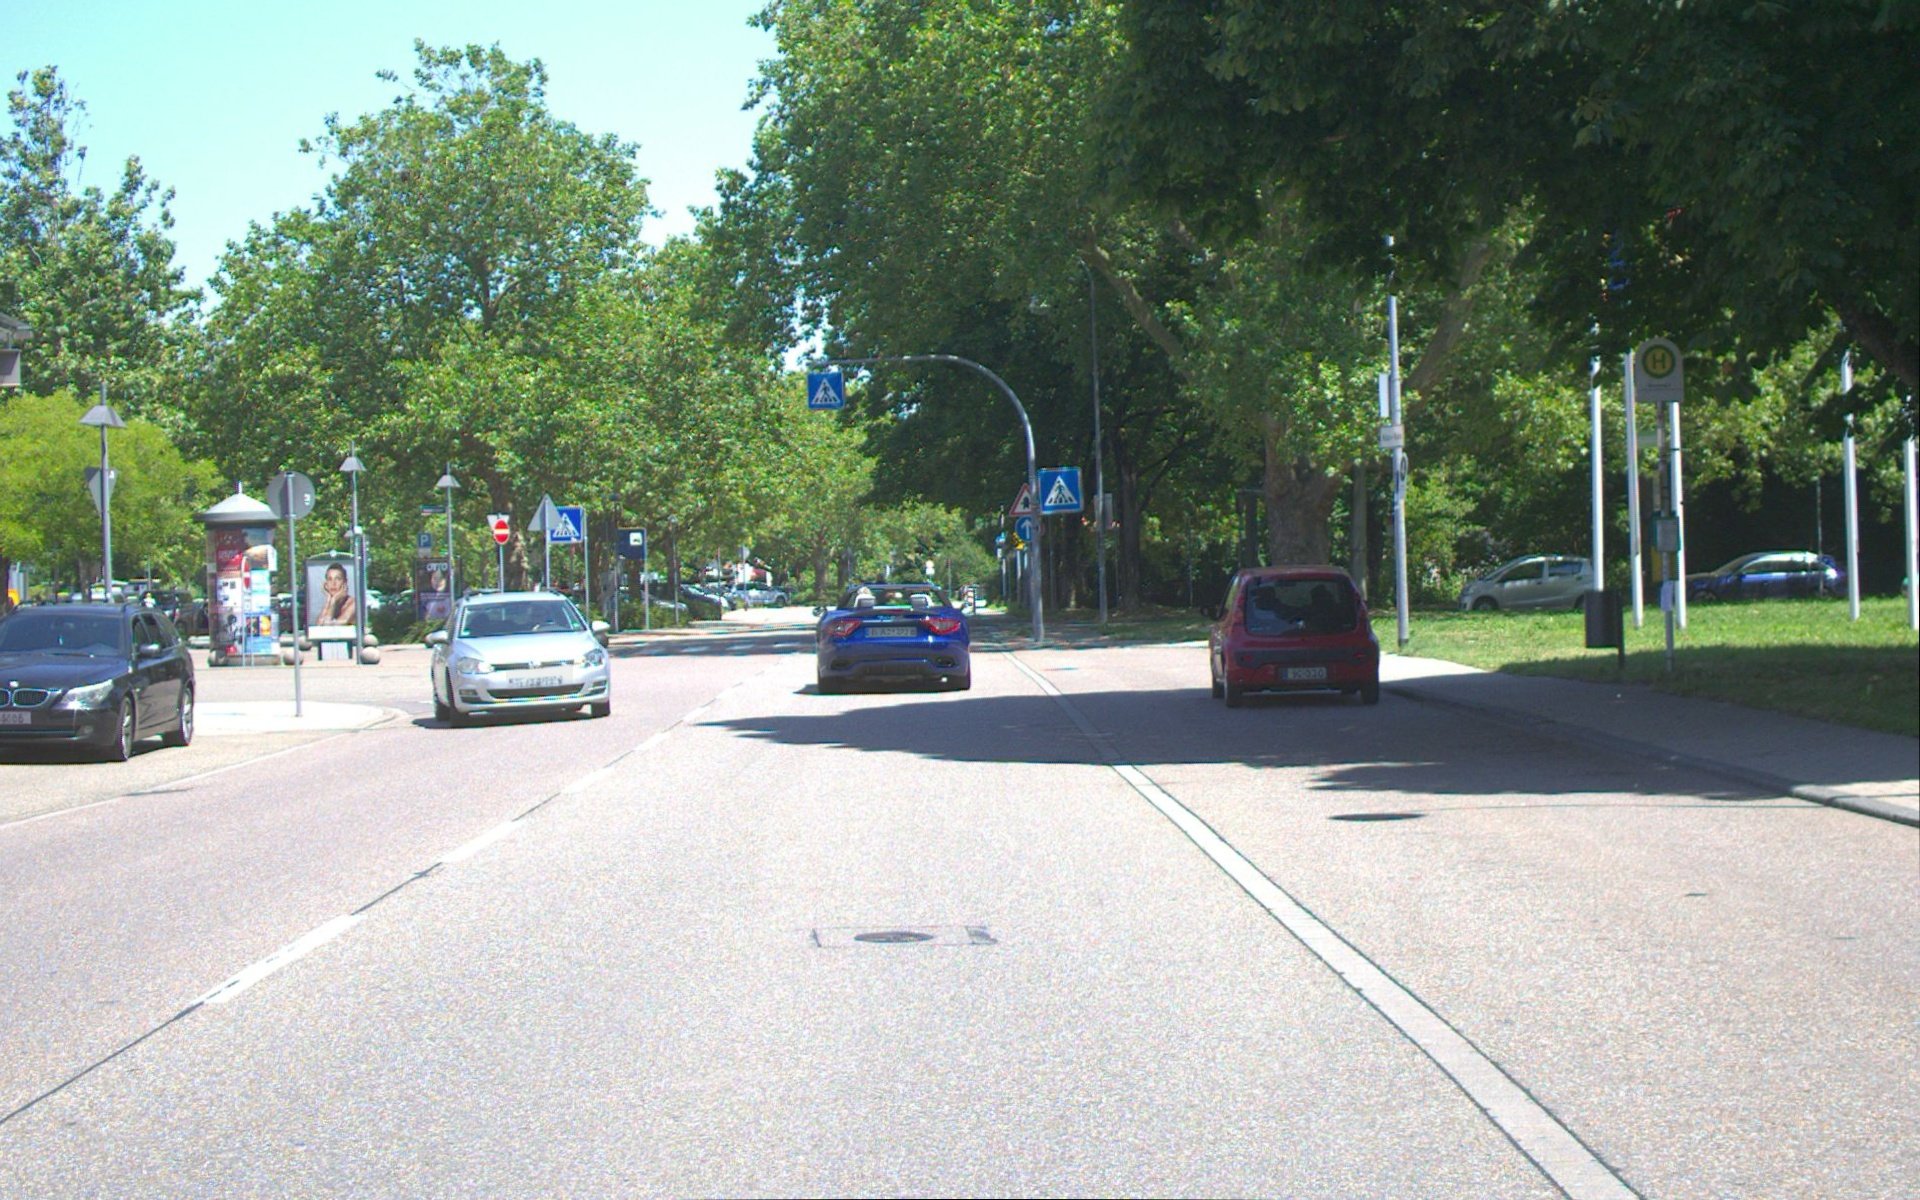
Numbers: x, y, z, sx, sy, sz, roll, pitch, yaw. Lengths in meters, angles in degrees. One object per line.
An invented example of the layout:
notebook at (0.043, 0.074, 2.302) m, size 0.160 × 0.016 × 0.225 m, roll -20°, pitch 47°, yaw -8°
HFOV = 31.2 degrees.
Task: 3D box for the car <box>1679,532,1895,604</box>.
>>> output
car at (20.258, -0.784, 84.397) m, size 4.824 × 1.602 × 2.000 m, roll -2°, pitch 1°, yaw 3°

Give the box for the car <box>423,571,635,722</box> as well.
car at (-4.819, 0.483, 38.984) m, size 1.815 × 1.439 × 4.158 m, roll -4°, pitch 1°, yaw 0°

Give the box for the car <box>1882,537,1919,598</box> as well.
car at (24.880, -0.823, 84.539) m, size 3.881 × 1.449 × 2.000 m, roll -1°, pitch -1°, yaw 1°

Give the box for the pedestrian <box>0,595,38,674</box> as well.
pedestrian at (-20.054, 0.736, 72.687) m, size 0.761 × 1.653 × 0.720 m, roll -2°, pitch -1°, yaw 16°

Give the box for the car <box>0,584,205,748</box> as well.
car at (-8.799, 0.607, 34.005) m, size 1.718 × 1.473 × 4.786 m, roll -2°, pitch 0°, yaw -2°

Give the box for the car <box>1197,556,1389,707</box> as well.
car at (3.501, 0.305, 36.711) m, size 1.719 × 1.473 × 3.706 m, roll -2°, pitch 0°, yaw 1°

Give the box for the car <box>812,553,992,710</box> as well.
car at (-0.767, 0.372, 43.189) m, size 2.125 × 1.842 × 4.048 m, roll -1°, pitch 0°, yaw -2°

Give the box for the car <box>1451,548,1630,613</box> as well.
car at (14.301, -0.495, 84.839) m, size 4.105 × 1.461 × 2.000 m, roll -2°, pitch 0°, yaw 3°
